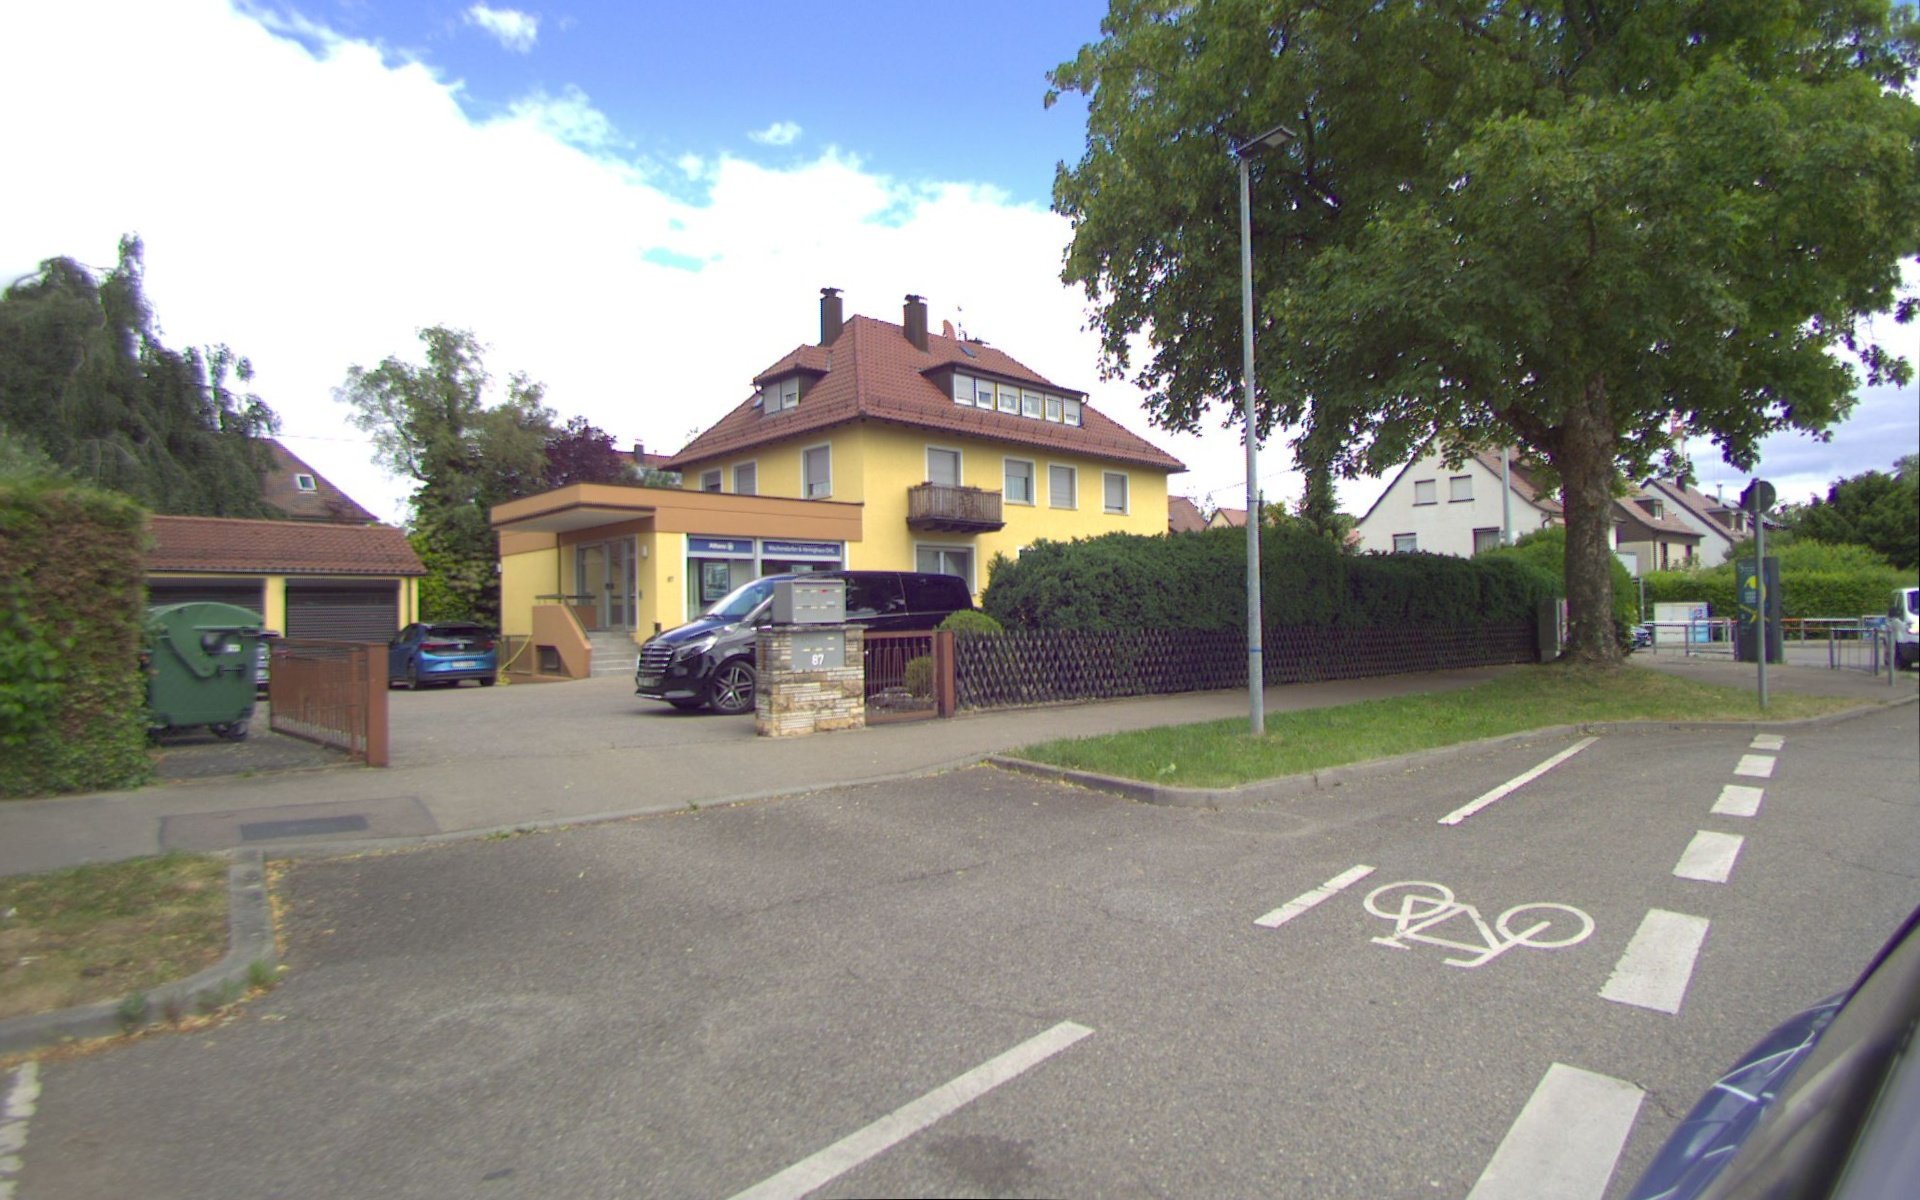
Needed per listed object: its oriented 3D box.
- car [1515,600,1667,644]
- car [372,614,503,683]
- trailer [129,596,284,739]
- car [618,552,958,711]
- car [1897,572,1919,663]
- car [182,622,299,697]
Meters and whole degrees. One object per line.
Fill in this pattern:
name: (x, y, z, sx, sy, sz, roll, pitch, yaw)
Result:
car: (22.329, 0.783, 35.983, 1.553, 1.467, 4.319, 0, -1, -35)
car: (-12.368, 1.149, 23.855, 1.830, 1.479, 3.991, 0, -3, -42)
trailer: (-8.069, 0.696, 10.824, 1.131, 1.392, 1.581, 0, -3, -44)
car: (-2.313, 0.405, 14.228, 4.388, 1.905, 1.819, 0, -2, -40)
car: (23.973, 0.392, 24.174, 1.990, 2.039, 4.977, -1, -1, 40)
car: (-14.580, 1.199, 20.446, 1.551, 1.347, 3.685, 0, -3, -42)
